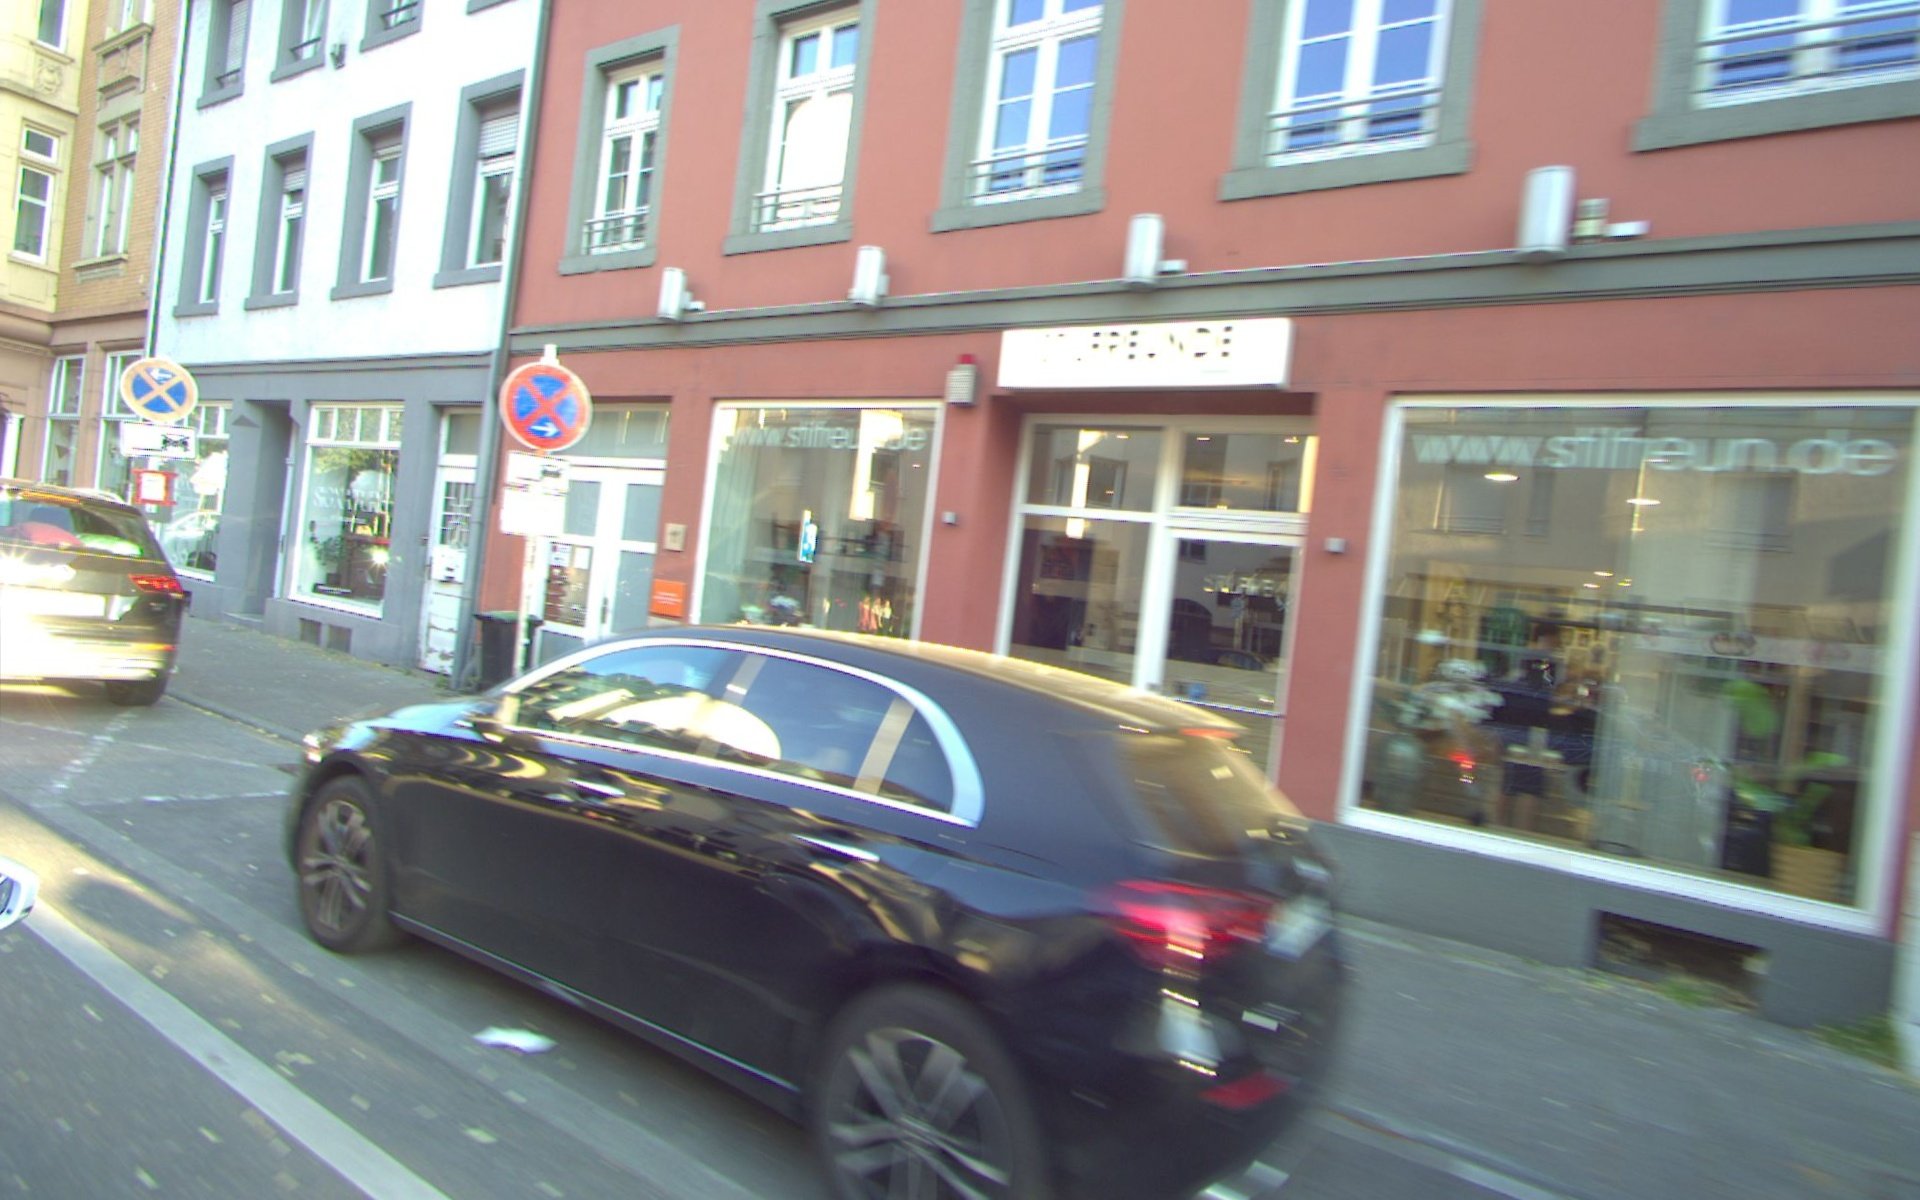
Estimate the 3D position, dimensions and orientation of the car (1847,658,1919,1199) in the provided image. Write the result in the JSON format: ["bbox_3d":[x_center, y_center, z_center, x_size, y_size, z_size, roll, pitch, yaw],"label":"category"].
[{"bbox_3d":[4.212,1.187,0.728,4.974,1.775,1.887,6,-2,31],"label":"car"}]

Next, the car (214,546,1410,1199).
[{"bbox_3d":[-0.794,0.792,3.807,4.236,1.501,1.765,6,-2,33],"label":"car"}]

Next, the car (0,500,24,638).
[{"bbox_3d":[-11.727,-0.552,10.664,3.740,1.394,1.669,6,-2,33],"label":"car"}]

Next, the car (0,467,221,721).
[{"bbox_3d":[-7.965,-0.187,8.049,4.137,1.687,1.815,6,-2,33],"label":"car"}]

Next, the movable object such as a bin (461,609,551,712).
[{"bbox_3d":[-4.526,0.604,10.040,0.477,0.949,0.553,7,0,30],"label":"movable object such as a bin"}]
